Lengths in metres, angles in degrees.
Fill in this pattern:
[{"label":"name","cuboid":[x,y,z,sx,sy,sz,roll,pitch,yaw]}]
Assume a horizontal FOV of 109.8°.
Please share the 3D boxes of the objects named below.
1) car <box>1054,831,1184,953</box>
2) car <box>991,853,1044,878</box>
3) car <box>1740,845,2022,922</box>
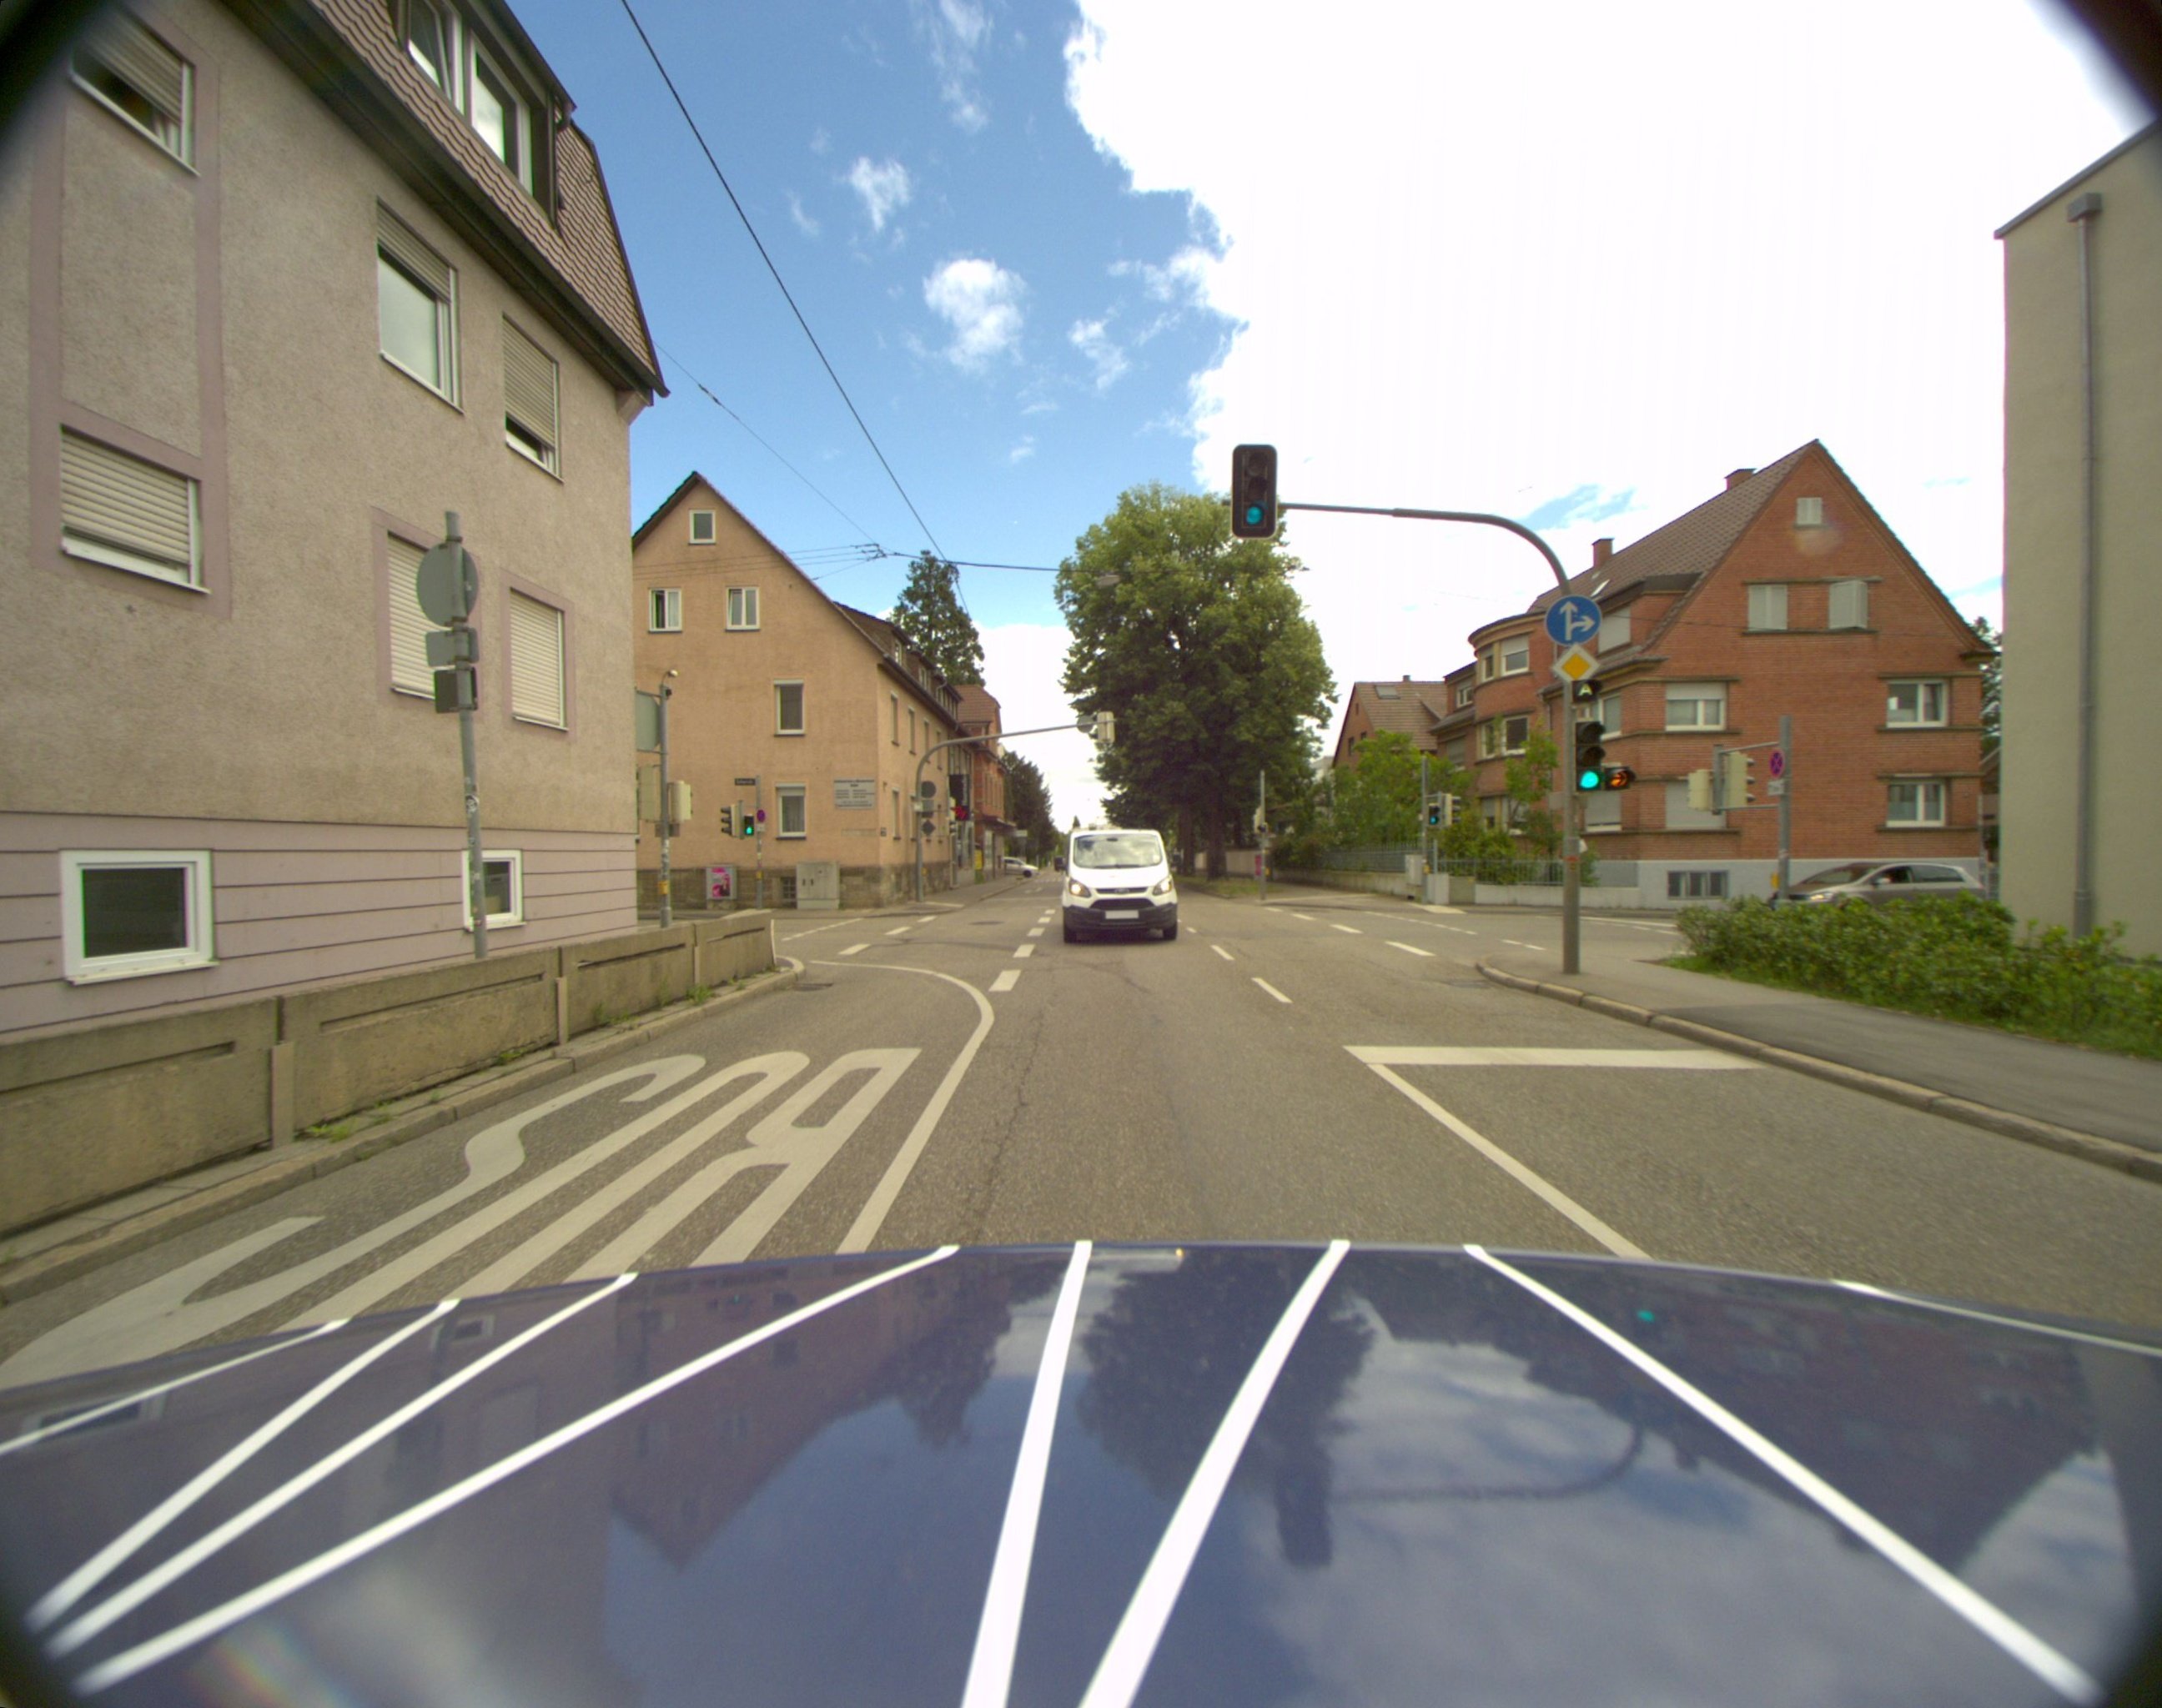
[{"label":"car","cuboid":[0.618,0.596,14.728,2.062,1.945,5.060,-1,0,0]},{"label":"car","cuboid":[-4.949,0.871,59.009,3.999,1.674,1.838,-2,1,-6]},{"label":"car","cuboid":[19.310,0.668,18.501,4.813,1.675,2.175,-1,0,-4]}]
